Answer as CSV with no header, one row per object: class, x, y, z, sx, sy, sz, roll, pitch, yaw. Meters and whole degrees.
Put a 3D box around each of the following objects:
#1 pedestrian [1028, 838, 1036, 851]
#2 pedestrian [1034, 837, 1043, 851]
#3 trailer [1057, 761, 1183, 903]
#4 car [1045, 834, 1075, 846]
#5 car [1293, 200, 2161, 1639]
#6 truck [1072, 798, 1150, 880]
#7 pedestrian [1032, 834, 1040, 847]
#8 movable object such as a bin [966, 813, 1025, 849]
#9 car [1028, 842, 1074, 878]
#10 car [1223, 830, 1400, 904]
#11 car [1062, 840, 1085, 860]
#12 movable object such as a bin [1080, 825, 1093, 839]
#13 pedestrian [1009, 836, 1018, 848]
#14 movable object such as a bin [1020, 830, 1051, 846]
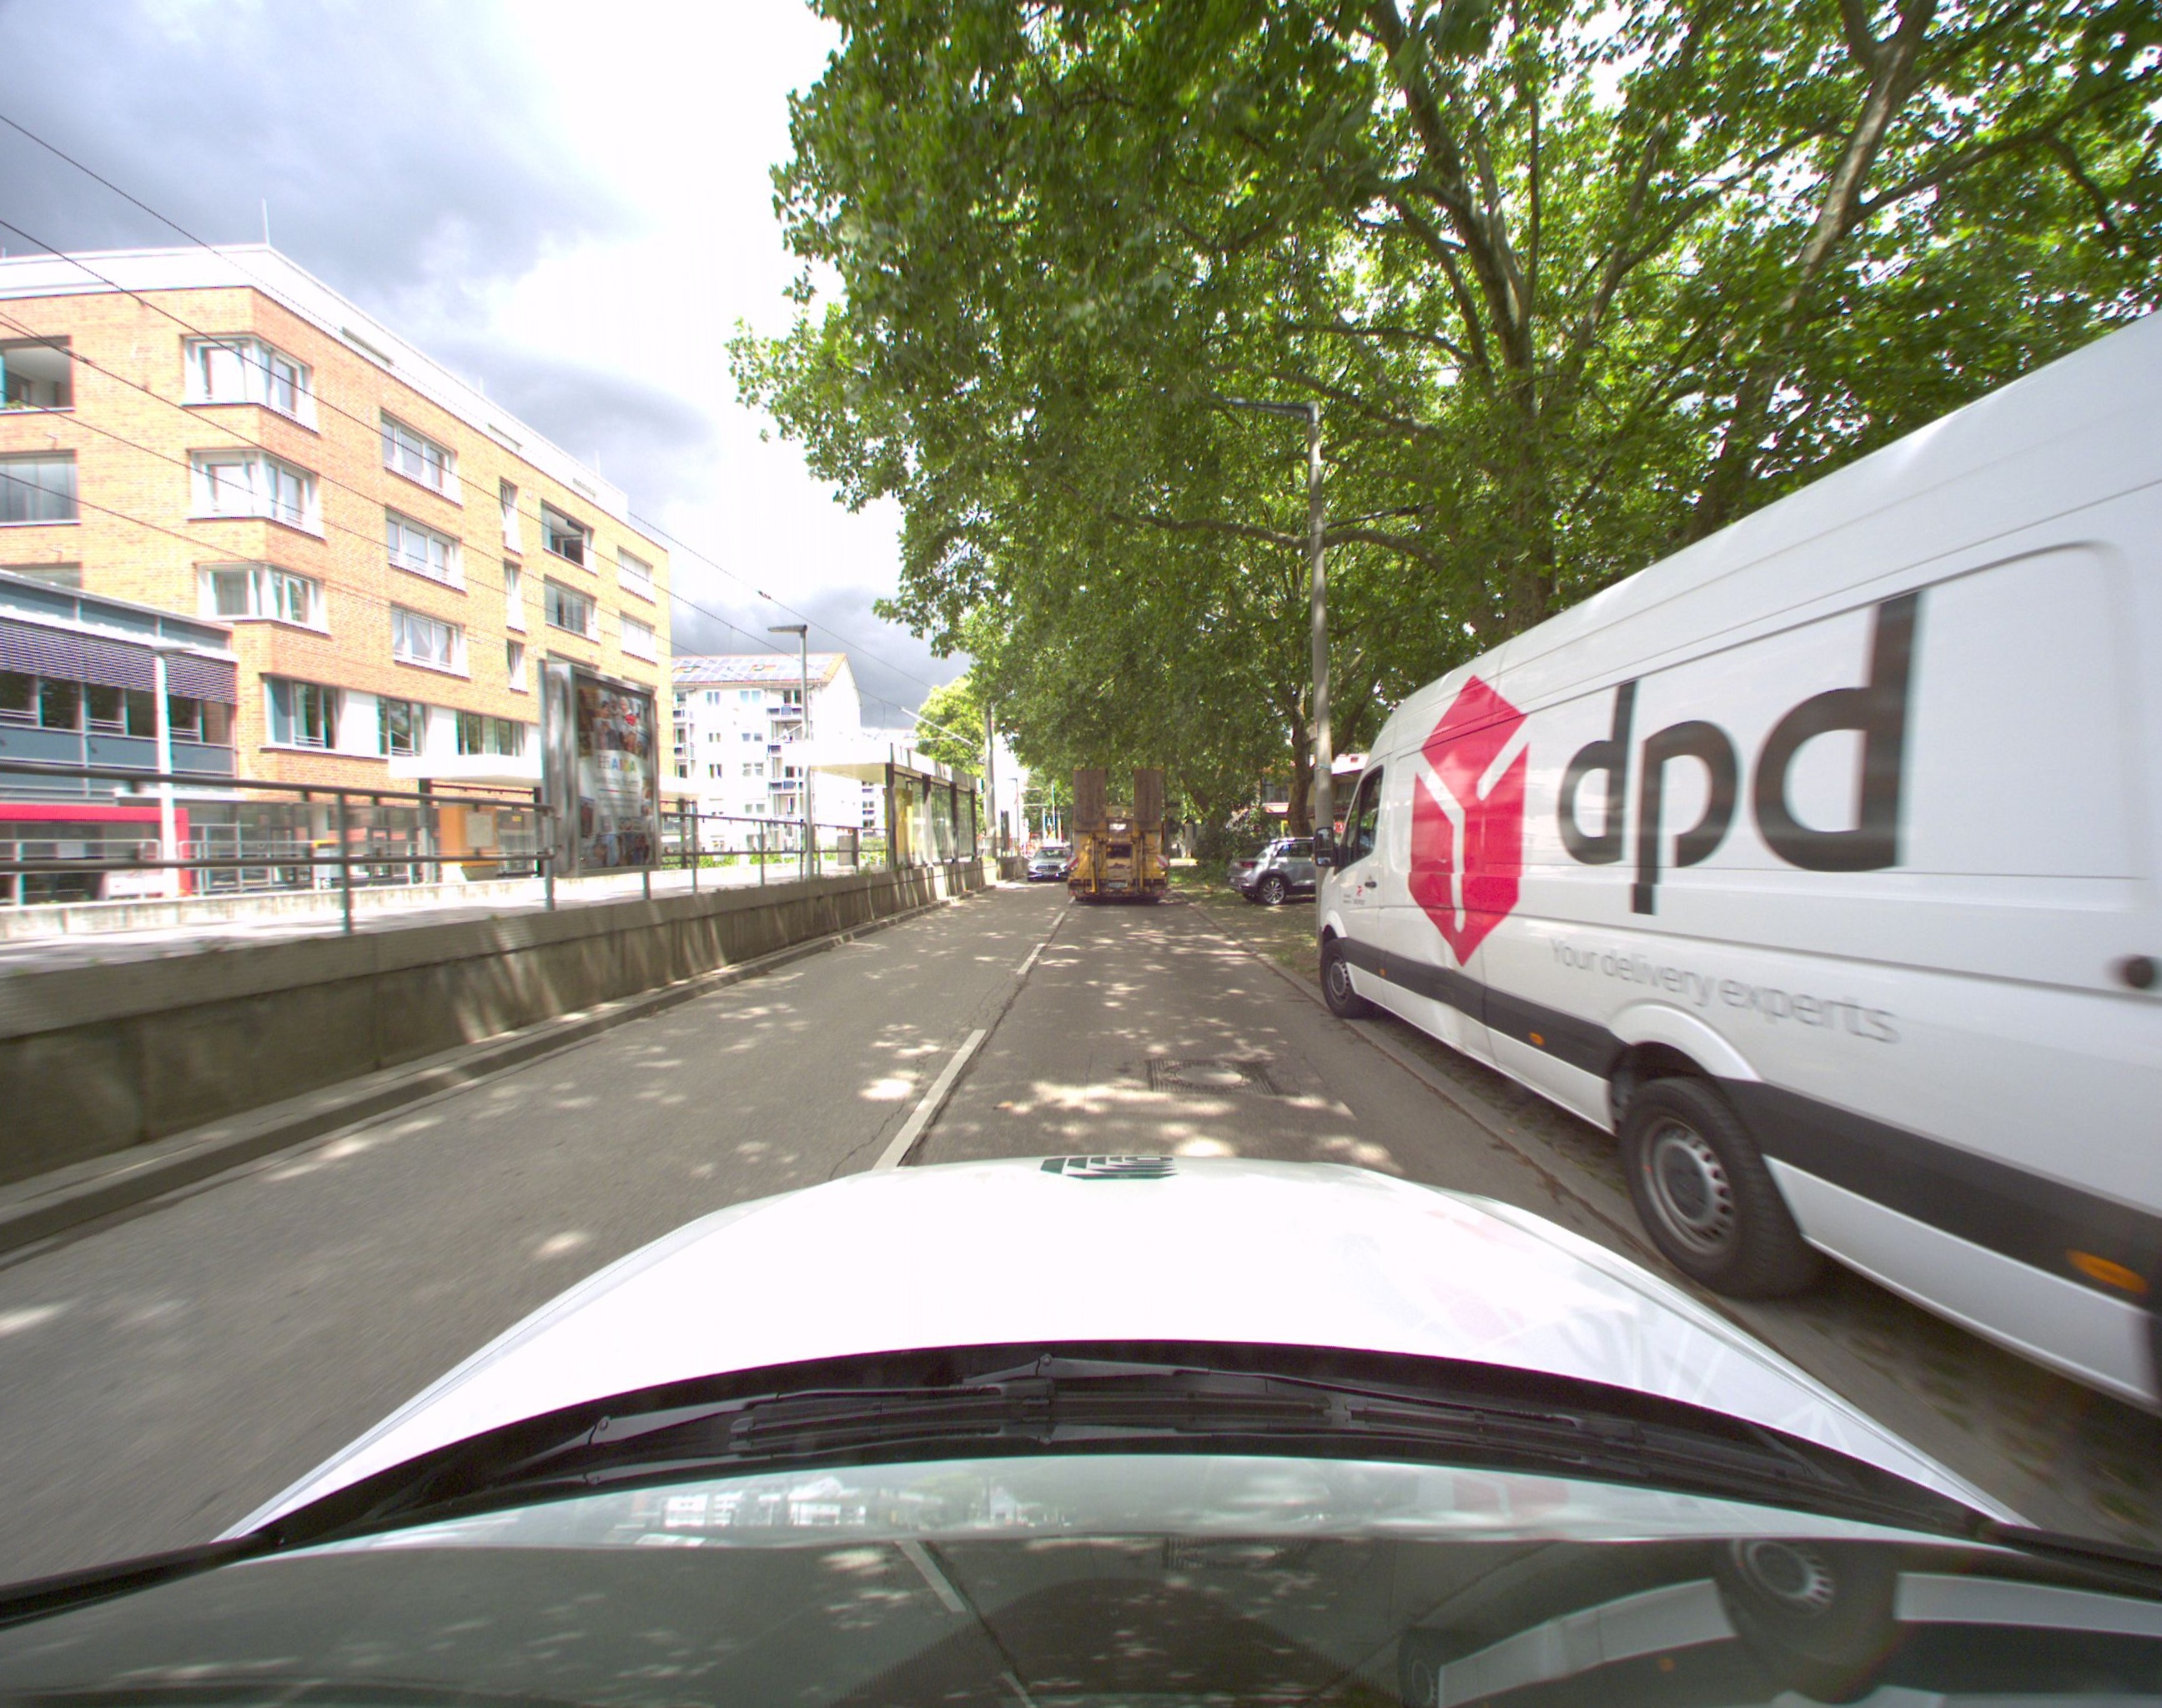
pedestrian,-6.696,-1.321,111.738,0.878,1.760,0.841,0,1,20
pedestrian,-5.916,-1.364,113.083,0.890,1.867,0.830,-1,1,-27
trailer,1.099,-0.640,25.968,3.143,3.552,11.100,0,1,1
car,-3.700,-2.492,143.430,5.094,2.102,1.968,-1,1,-13
car,2.989,0.061,4.640,1.897,2.581,6.837,-3,1,2
truck,1.295,-0.655,35.466,2.978,3.134,7.892,0,1,2
pedestrian,-6.354,-1.876,115.570,0.877,1.867,0.842,0,1,31
movable object such as a bin,-13.343,-3.541,127.041,9.115,5.414,2.680,0,1,28
car,-1.283,0.216,36.130,1.756,1.481,4.578,0,1,1
car,5.588,0.286,19.977,3.823,1.562,1.617,-3,1,-5
car,-0.545,-0.325,65.749,1.690,1.564,3.862,-1,0,2
movable object such as a bin,0.814,-3.149,117.981,1.389,2.013,2.565,0,1,13
pedestrian,-9.293,-1.678,112.037,0.891,1.644,0.891,-1,1,-29
movable object such as a bin,-7.348,-2.569,131.489,4.325,2.629,2.234,0,1,28
